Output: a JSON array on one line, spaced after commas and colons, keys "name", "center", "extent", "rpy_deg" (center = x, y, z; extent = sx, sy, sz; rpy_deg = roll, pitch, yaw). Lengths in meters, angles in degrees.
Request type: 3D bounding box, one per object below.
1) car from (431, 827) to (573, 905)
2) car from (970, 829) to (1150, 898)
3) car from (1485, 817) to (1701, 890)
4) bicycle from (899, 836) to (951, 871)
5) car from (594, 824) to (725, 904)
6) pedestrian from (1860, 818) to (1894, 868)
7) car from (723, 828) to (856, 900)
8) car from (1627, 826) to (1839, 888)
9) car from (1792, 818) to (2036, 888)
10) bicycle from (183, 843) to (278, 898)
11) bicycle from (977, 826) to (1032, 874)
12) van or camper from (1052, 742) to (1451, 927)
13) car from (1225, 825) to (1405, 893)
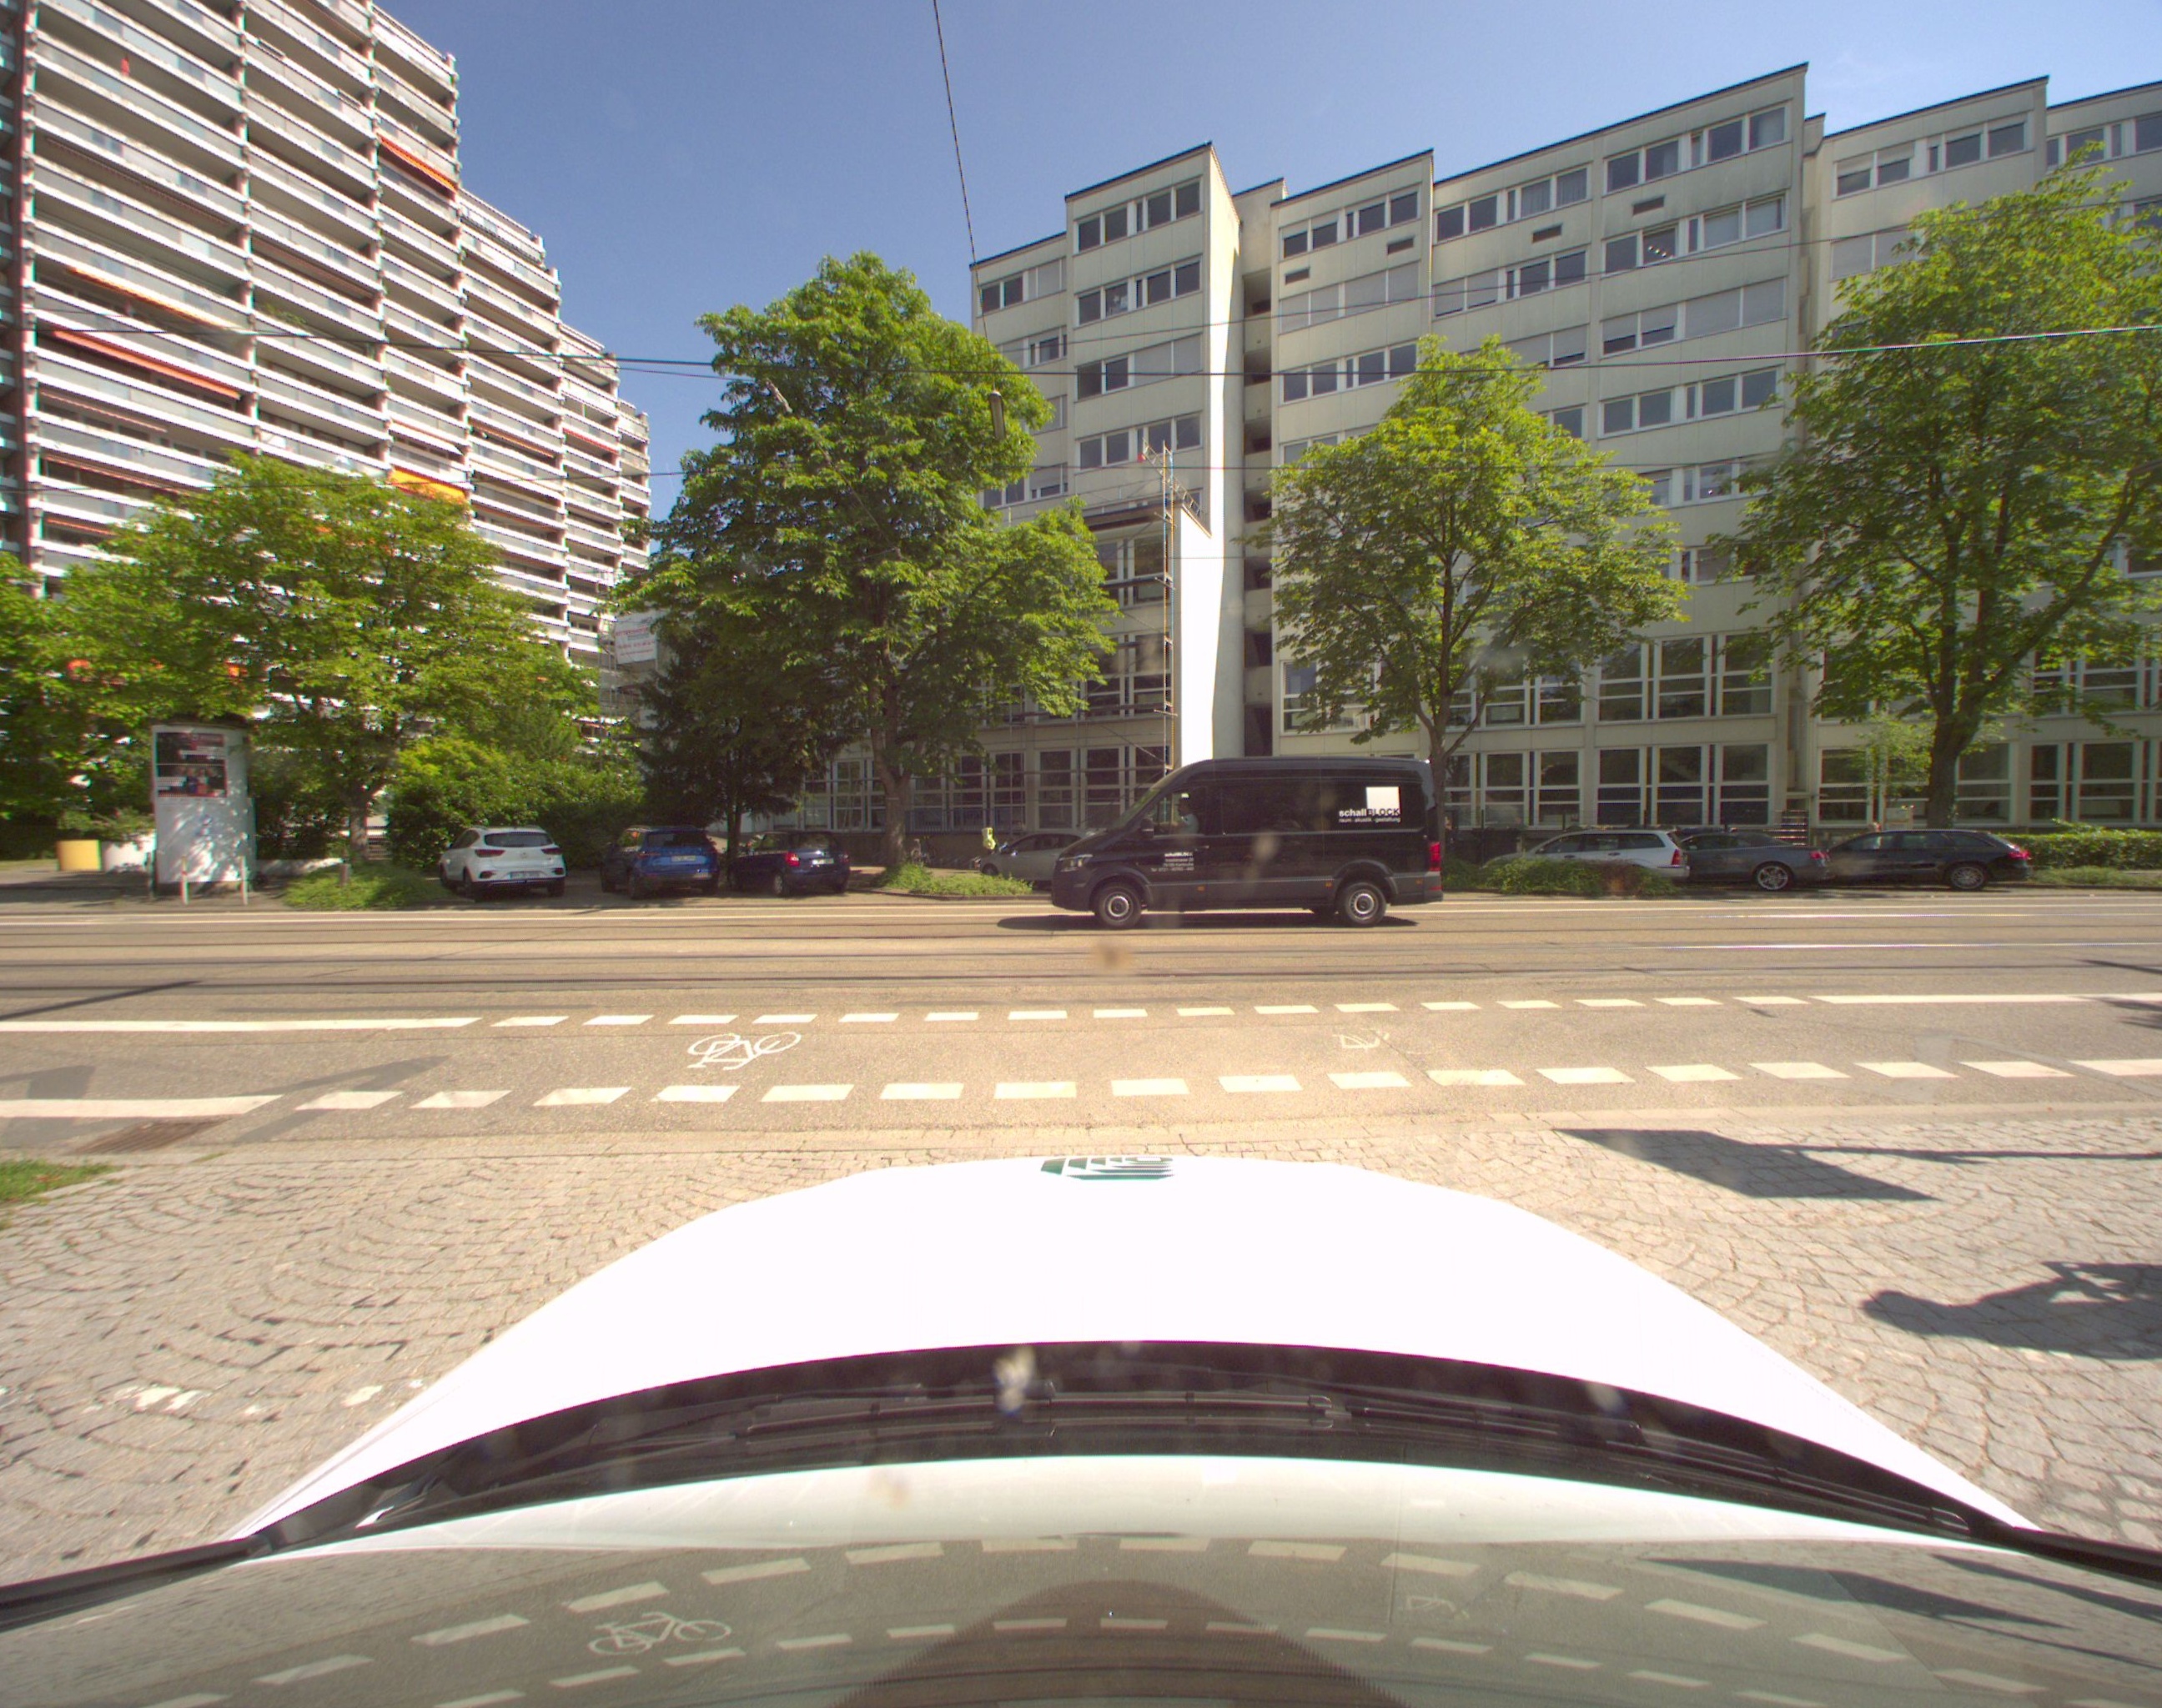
[{"name": "car", "center": [-13.440, 0.210, 18.835], "extent": [3.895, 1.606, 1.831], "rpy_deg": [1, 2, 42]}, {"name": "car", "center": [-0.595, 0.163, 19.786], "extent": [4.380, 1.486, 1.795], "rpy_deg": [1, 2, 44]}, {"name": "car", "center": [12.415, -0.034, 19.934], "extent": [4.289, 1.604, 1.568], "rpy_deg": [0, 1, 41]}, {"name": "bicycle", "center": [-5.174, -0.041, 27.166], "extent": [0.735, 1.085, 2.214], "rpy_deg": [0, 2, 18]}, {"name": "car", "center": [-9.971, 0.132, 19.146], "extent": [1.790, 1.622, 3.899], "rpy_deg": [-3, 4, -42]}, {"name": "pedestrian", "center": [23.681, -0.335, 24.232], "extent": [0.618, 1.460, 0.424], "rpy_deg": [-1, 1, -4]}, {"name": "car", "center": [-6.926, 0.174, 19.207], "extent": [3.415, 1.530, 1.586], "rpy_deg": [1, 2, 44]}, {"name": "car", "center": [15.712, 0.019, 19.752], "extent": [3.896, 1.357, 1.568], "rpy_deg": [1, 2, 44]}, {"name": "car", "center": [19.440, -0.061, 19.245], "extent": [3.896, 1.486, 1.568], "rpy_deg": [1, 2, 44]}, {"name": "bicycle", "center": [-21.073, 0.403, 20.197], "extent": [1.614, 1.308, 0.546], "rpy_deg": [-1, 1, -7]}, {"name": "bicycle", "center": [-2.448, -0.155, 26.300], "extent": [0.655, 1.453, 2.104], "rpy_deg": [0, 2, 30]}, {"name": "van or camper", "center": [2.497, -0.321, 12.884], "extent": [5.825, 2.619, 2.050], "rpy_deg": [-1, 2, -1]}, {"name": "car", "center": [5.614, 0.102, 19.871], "extent": [1.623, 1.486, 3.896], "rpy_deg": [-2, 1, -45]}]
